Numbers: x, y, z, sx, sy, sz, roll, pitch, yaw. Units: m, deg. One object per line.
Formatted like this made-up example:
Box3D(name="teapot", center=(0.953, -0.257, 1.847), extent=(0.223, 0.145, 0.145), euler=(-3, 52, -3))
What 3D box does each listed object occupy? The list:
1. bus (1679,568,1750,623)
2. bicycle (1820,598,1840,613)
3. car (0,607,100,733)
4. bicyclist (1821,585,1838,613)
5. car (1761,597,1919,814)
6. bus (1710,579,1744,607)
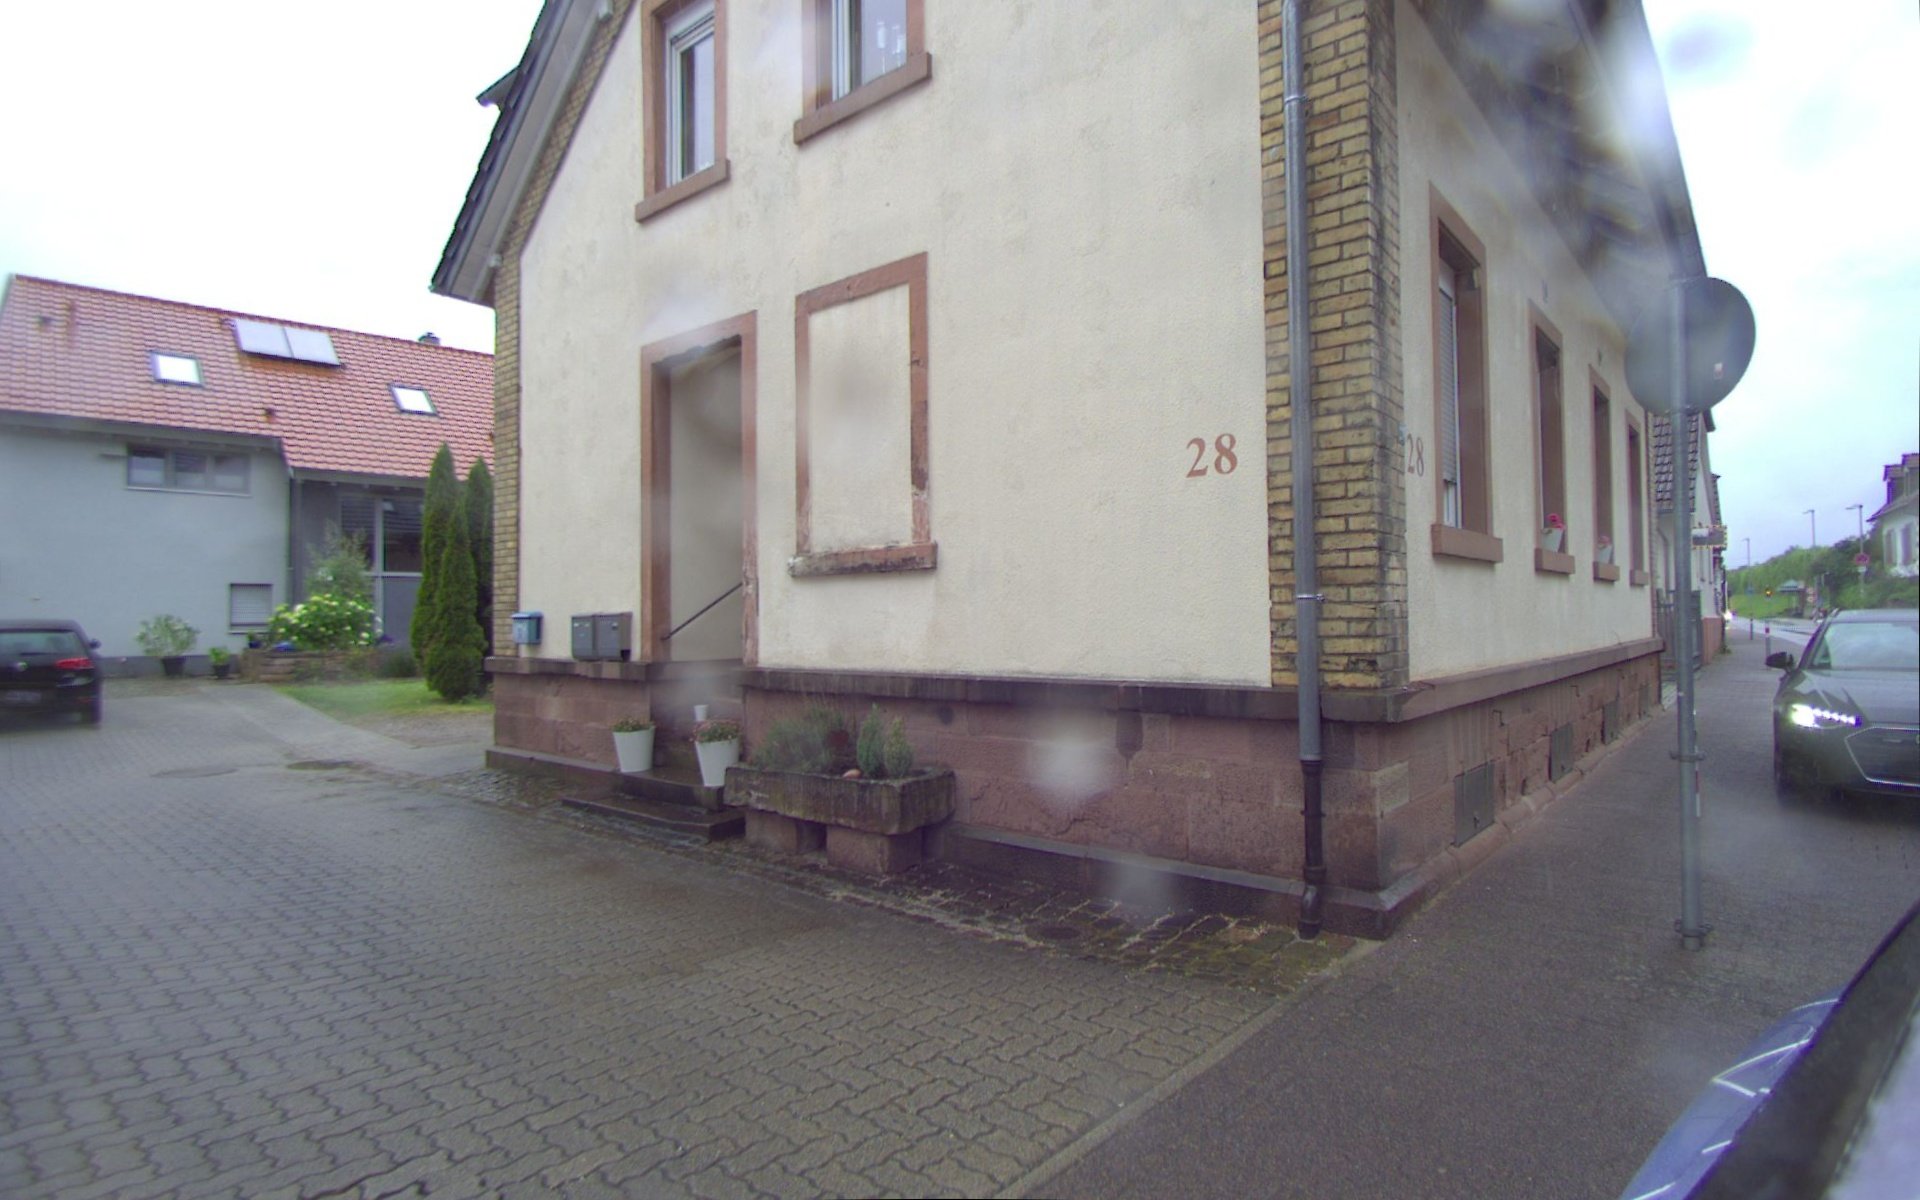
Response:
Box3D(name="bus", center=(52.434, -0.304, 70.641), extent=(3.420, 3.455, 13.696), euler=(-2, -1, 35))
Box3D(name="bicycle", center=(58.208, 0.365, 67.709), extent=(0.657, 0.882, 1.913), euler=(-3, -4, 30))
Box3D(name="car", center=(-13.816, 0.949, 14.934), extent=(1.666, 1.480, 3.569), euler=(-1, 3, -41))
Box3D(name="bicyclist", center=(58.230, -0.074, 67.804), extent=(0.653, 1.793, 0.696), euler=(-3, -4, 30))
Box3D(name="car", center=(7.566, 0.686, 7.971), extent=(1.770, 1.373, 4.134), euler=(1, 0, 36))
Box3D(name="bus", center=(87.370, -0.749, 115.296), extent=(2.799, 2.977, 11.779), euler=(-3, -2, 37))
